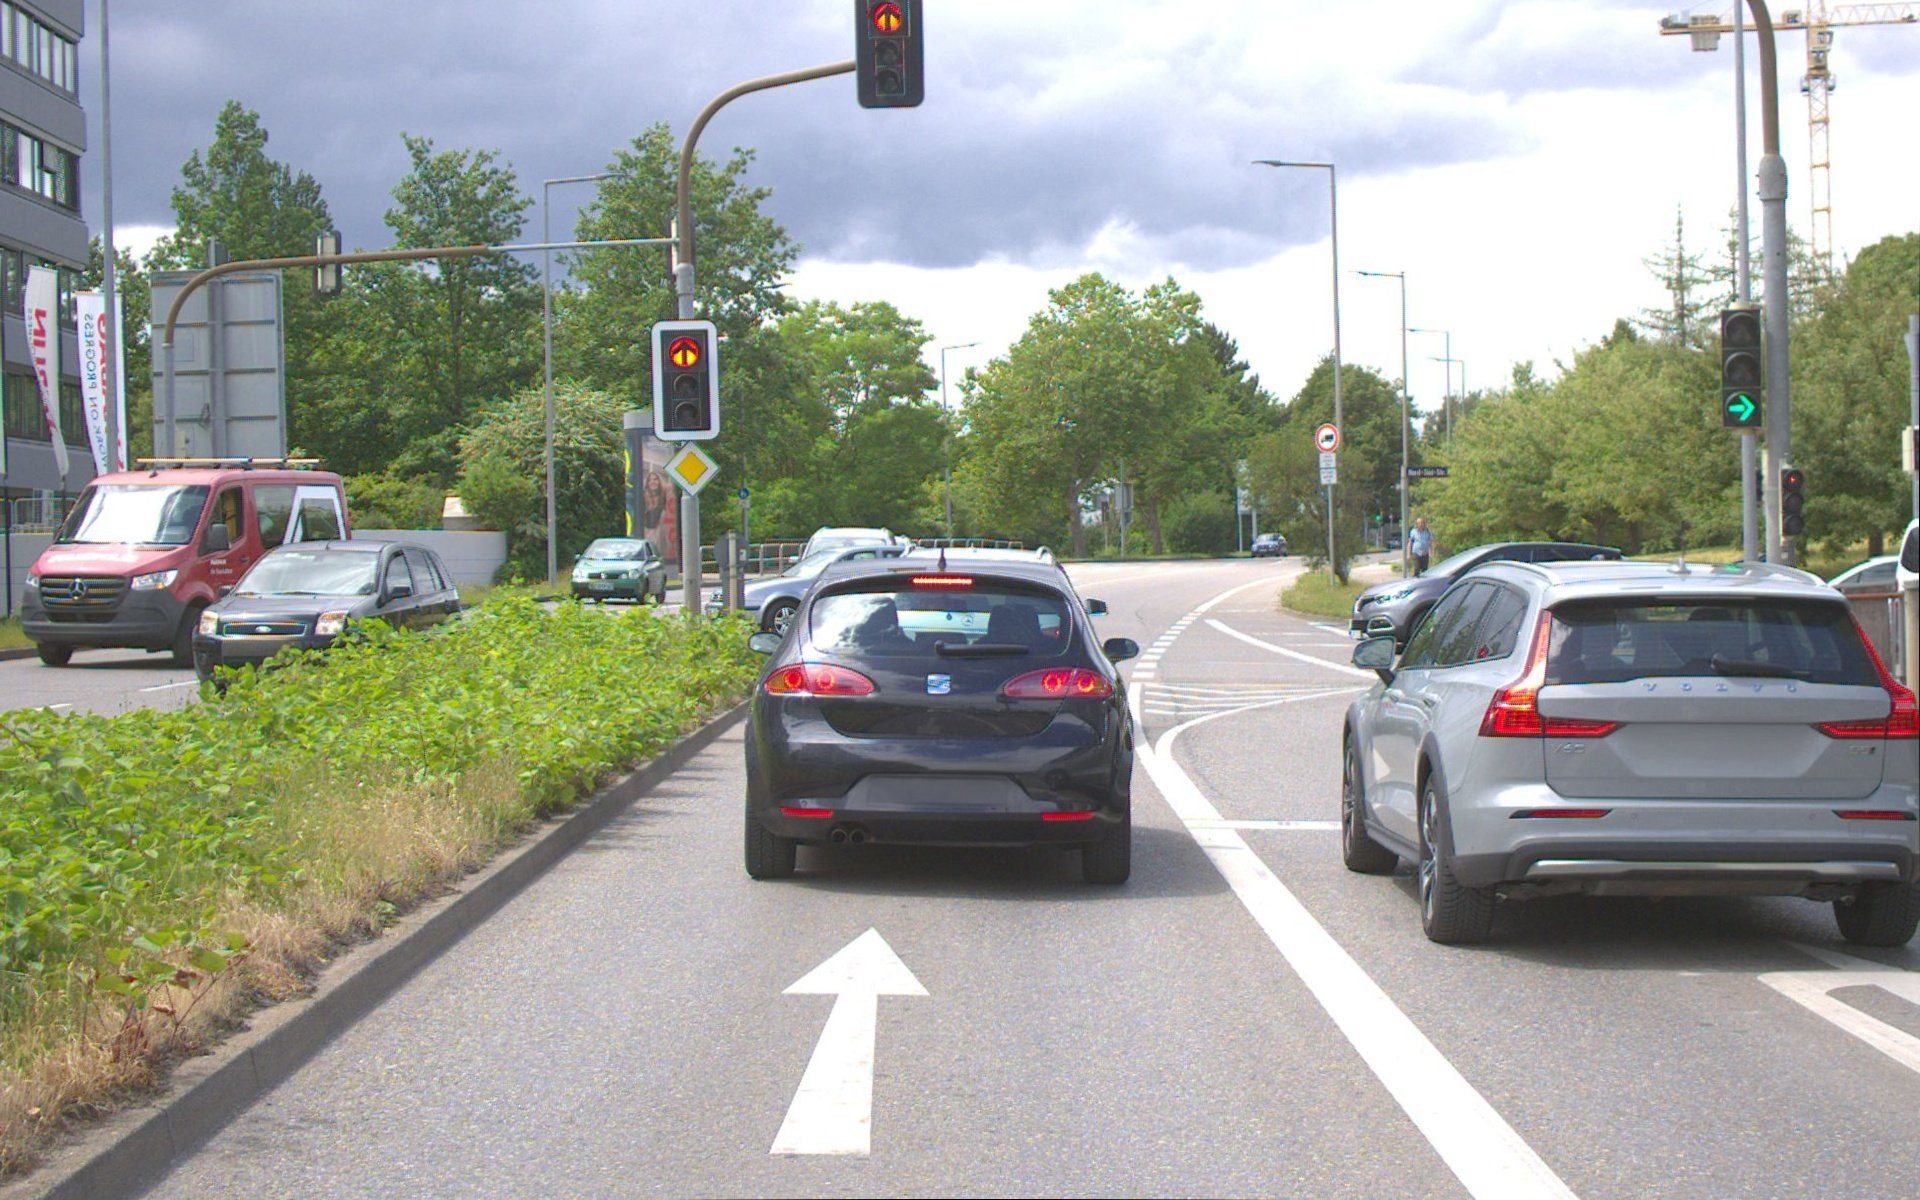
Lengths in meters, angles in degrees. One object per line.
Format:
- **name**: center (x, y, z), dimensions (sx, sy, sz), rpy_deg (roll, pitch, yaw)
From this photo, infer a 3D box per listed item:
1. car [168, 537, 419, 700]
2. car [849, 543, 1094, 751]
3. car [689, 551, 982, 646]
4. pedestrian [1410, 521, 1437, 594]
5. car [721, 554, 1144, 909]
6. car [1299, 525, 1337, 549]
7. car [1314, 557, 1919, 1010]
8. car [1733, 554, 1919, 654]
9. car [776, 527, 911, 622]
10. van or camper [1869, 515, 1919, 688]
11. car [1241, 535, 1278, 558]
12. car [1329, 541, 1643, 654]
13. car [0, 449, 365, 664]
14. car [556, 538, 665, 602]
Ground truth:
- **car**: center (-6.424, 0.133, 33.495), dimensions (1.678, 1.477, 4.000), rpy_deg (0, 1, 0)
- **car**: center (0.027, 0.317, 27.108), dimensions (1.773, 1.486, 3.583), rpy_deg (-1, 1, -2)
- **car**: center (-1.893, -0.042, 51.988), dimensions (3.986, 1.349, 2.001), rpy_deg (-1, 1, -22)
- **pedestrian**: center (11.034, -1.019, 81.886), dimensions (0.559, 1.720, 0.588), rpy_deg (1, 1, 1)
- **car**: center (-0.113, 0.532, 16.310), dimensions (1.773, 1.447, 3.582), rpy_deg (1, 1, 0)
- **car**: center (20.470, -3.628, 196.342), dimensions (1.994, 1.347, 3.999), rpy_deg (0, 1, 8)
- **car**: center (2.666, 0.617, 14.280), dimensions (1.863, 1.513, 4.447), rpy_deg (-1, 1, -1)
- **car**: center (14.248, 0.048, 53.842), dimensions (3.988, 1.525, 2.000), rpy_deg (0, 1, 7)
- **car**: center (-2.008, -0.471, 60.335), dimensions (1.994, 1.590, 4.000), rpy_deg (0, 1, 3)
- **van or camper**: center (12.592, -0.021, 37.529), dimensions (4.926, 1.853, 2.001), rpy_deg (-1, 1, -21)
- **car**: center (17.777, -3.174, 204.013), dimensions (1.994, 1.347, 3.999), rpy_deg (0, 1, 8)
- **car**: center (7.351, -0.053, 48.290), dimensions (3.986, 1.511, 1.942), rpy_deg (0, 1, -7)
- **car**: center (-9.247, -0.529, 41.122), dimensions (1.995, 2.404, 5.236), rpy_deg (0, 1, 17)
- **car**: center (-7.696, -0.677, 76.091), dimensions (1.993, 1.347, 4.000), rpy_deg (0, 1, 0)
